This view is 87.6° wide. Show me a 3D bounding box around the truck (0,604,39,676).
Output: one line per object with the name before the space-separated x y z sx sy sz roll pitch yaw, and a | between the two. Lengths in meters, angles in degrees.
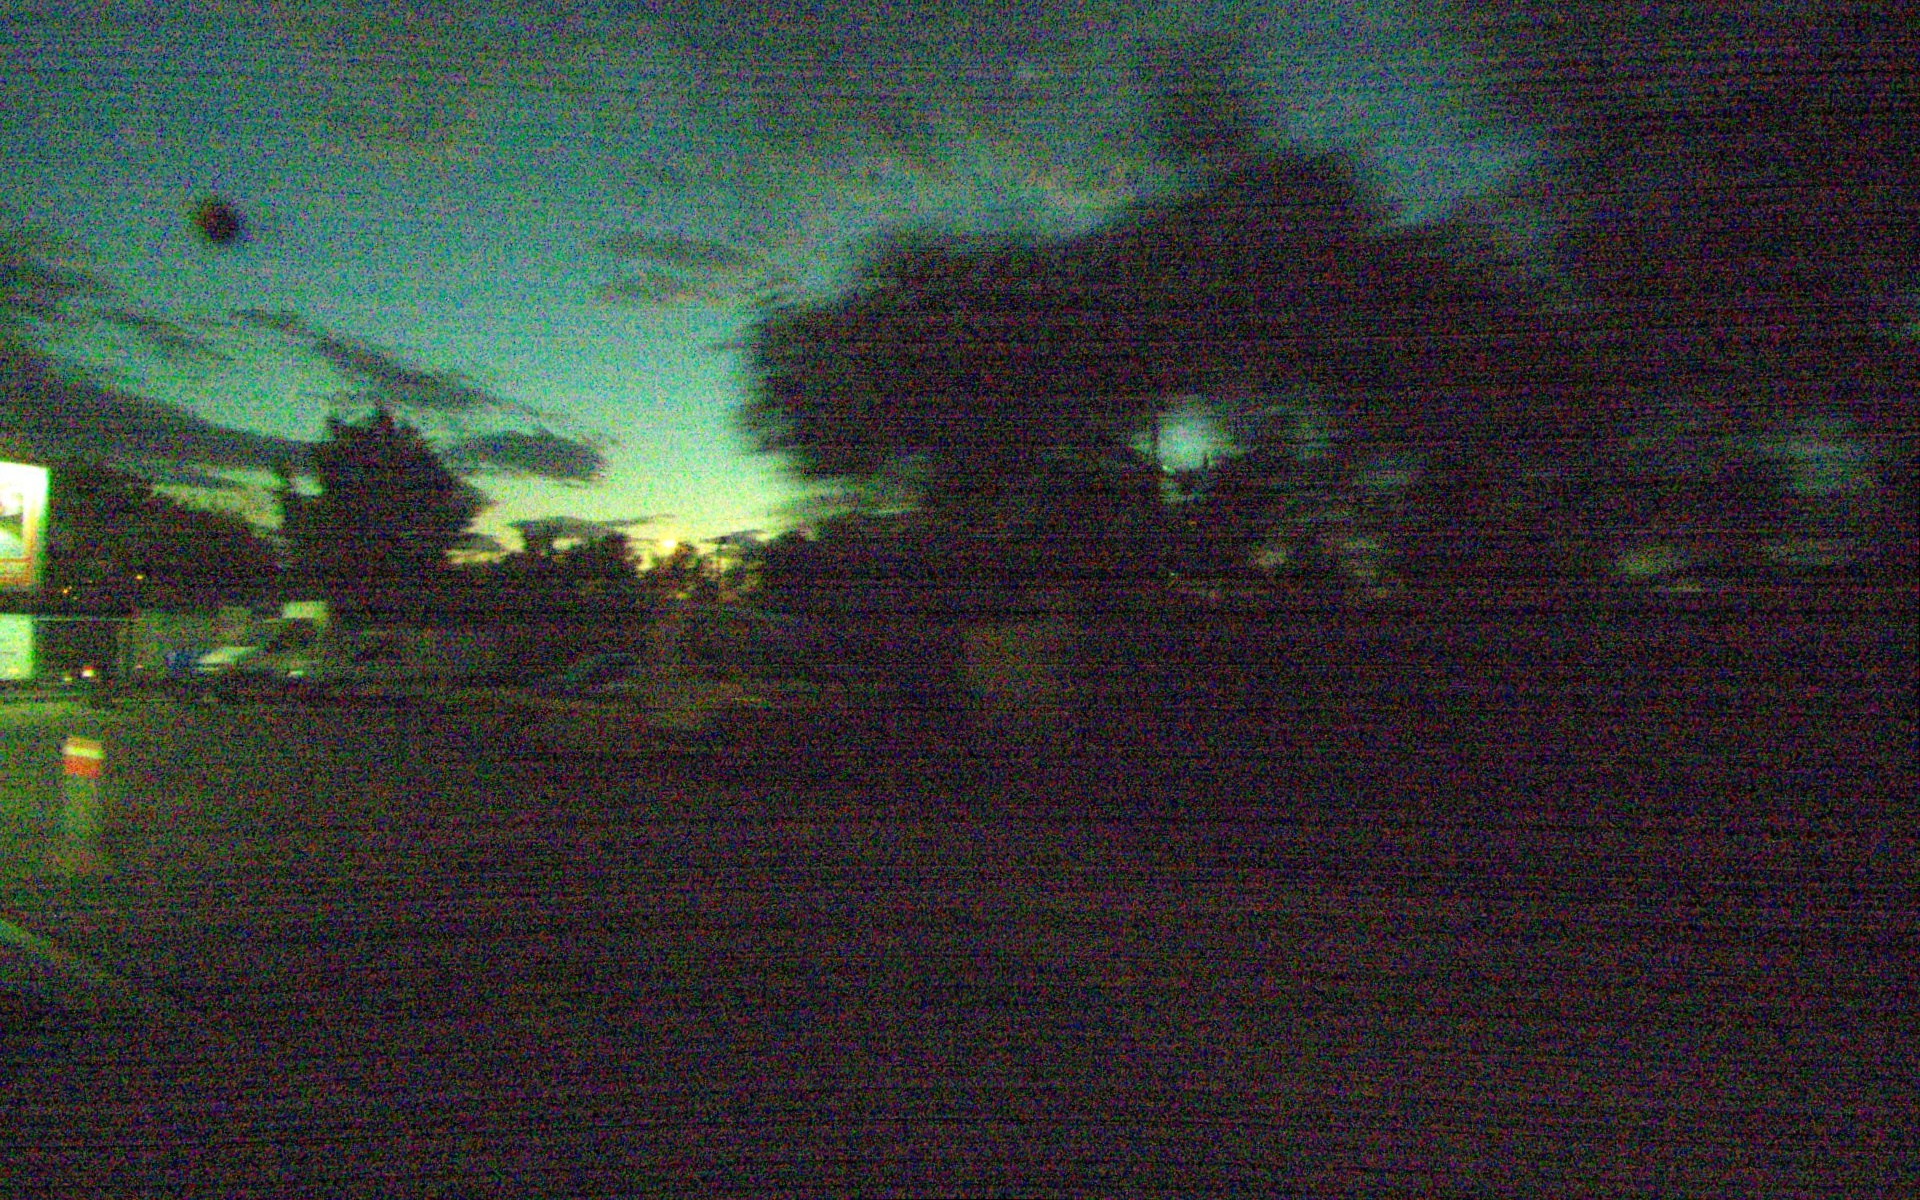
truck | -40.478 1.613 41.363 7.221 2.781 2.178 -1 -4 37

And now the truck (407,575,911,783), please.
truck | -4.511 0.978 14.198 7.632 2.312 2.375 -1 -3 32

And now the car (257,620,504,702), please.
car | -14.579 1.547 25.495 1.963 1.859 5.062 -1 -3 35

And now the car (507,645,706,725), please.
car | -7.524 1.784 21.649 1.684 1.534 3.853 0 -3 31

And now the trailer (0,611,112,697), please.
trailer | -23.380 1.295 24.572 3.710 2.040 1.604 2 -1 -33

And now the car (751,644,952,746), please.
car | -1.863 1.670 18.344 1.684 1.624 3.853 0 -3 31

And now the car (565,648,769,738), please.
car | -5.843 1.823 20.375 1.684 1.615 3.853 0 -3 31

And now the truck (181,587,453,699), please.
truck | -16.859 1.179 26.619 2.437 2.632 5.524 0 -3 32
